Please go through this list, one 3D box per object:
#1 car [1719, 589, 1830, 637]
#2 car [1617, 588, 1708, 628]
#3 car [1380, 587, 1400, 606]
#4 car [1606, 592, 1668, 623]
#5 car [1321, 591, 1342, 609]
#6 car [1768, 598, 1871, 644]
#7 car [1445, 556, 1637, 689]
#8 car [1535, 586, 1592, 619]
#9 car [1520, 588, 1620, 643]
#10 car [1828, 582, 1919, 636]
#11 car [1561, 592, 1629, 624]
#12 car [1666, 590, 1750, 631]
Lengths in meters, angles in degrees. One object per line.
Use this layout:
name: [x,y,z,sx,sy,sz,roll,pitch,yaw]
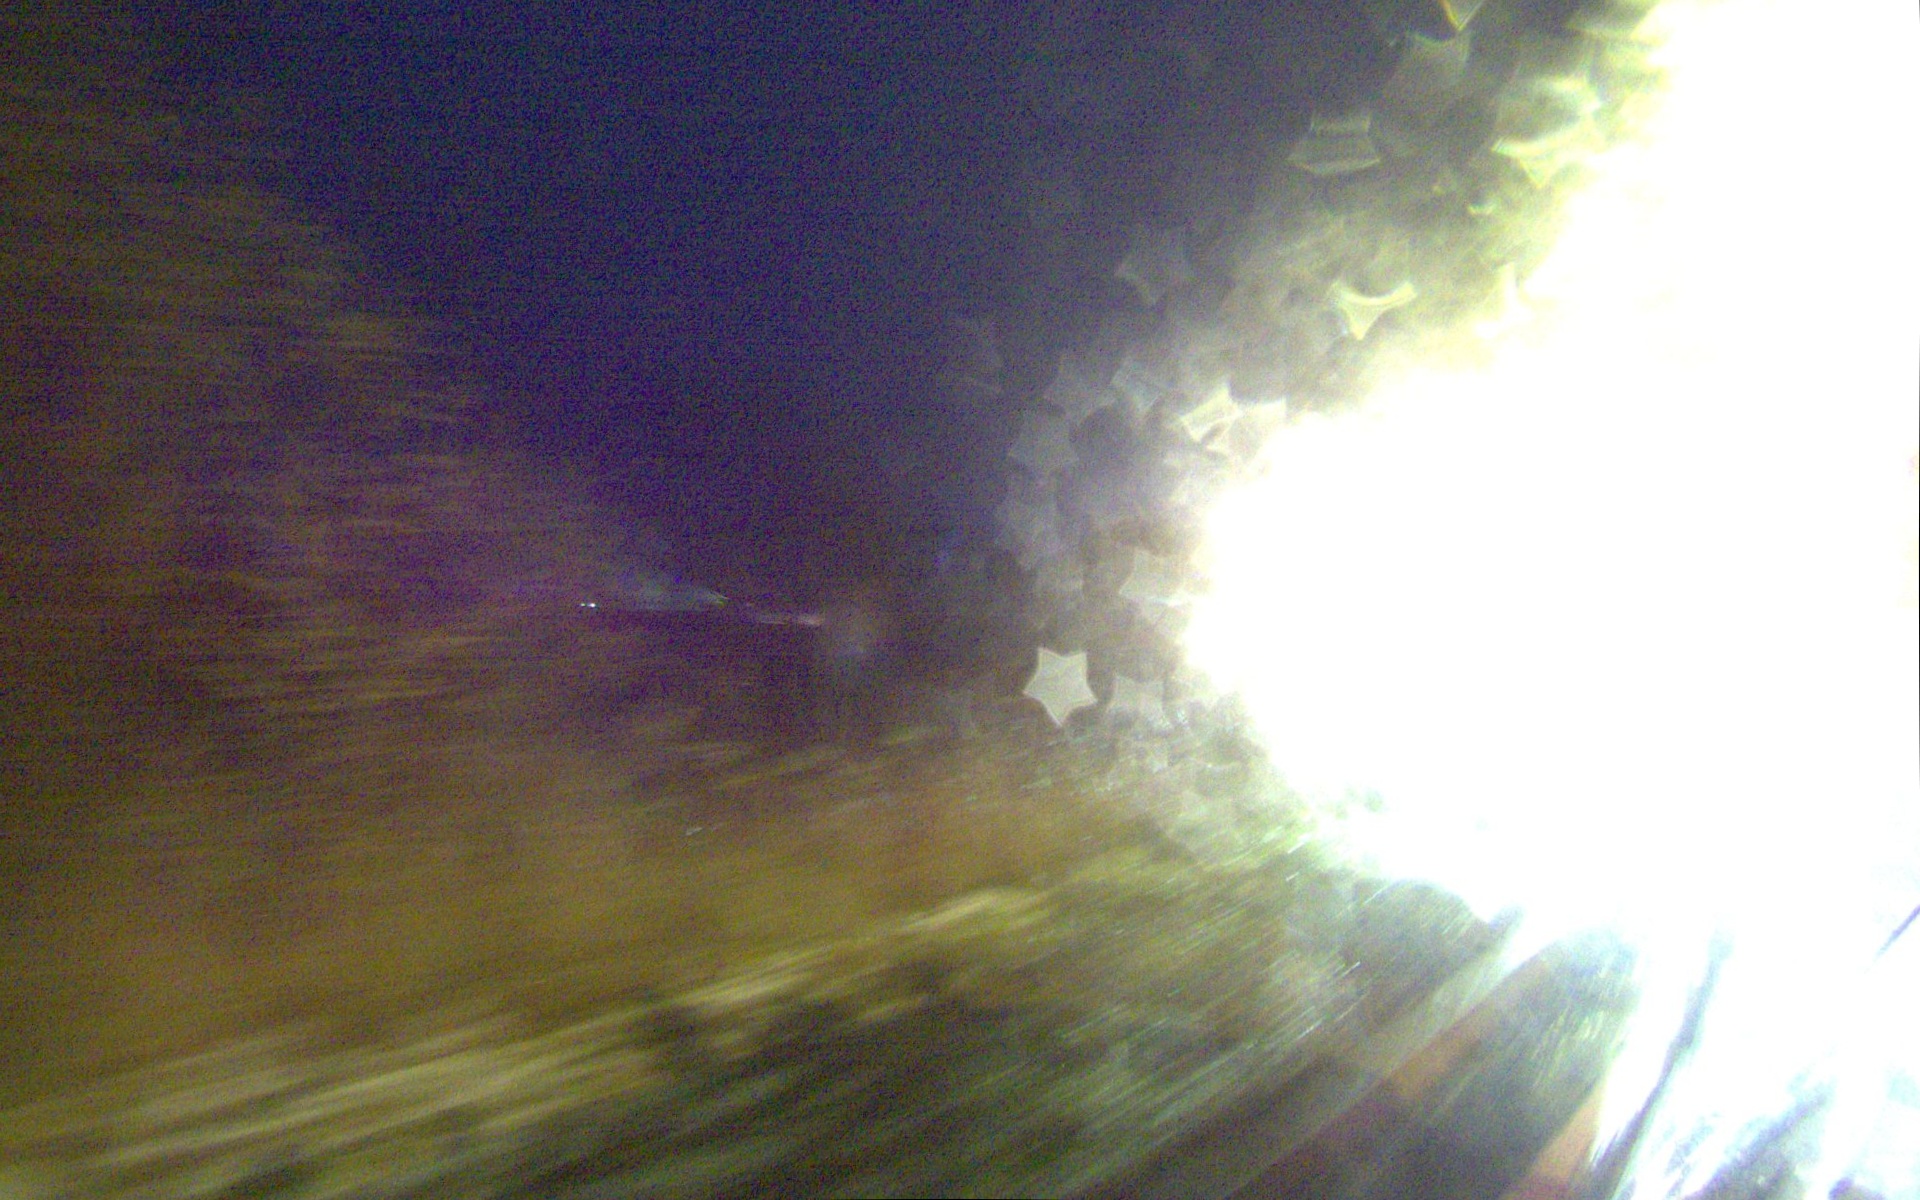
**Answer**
car: [31.907,0.447,39.830,1.779,1.686,4.466,0,2,16]
car: [29.595,0.304,42.779,1.793,1.597,4.285,1,1,15]
car: [44.511,-0.359,104.834,1.646,1.876,4.122,0,2,19]
car: [36.596,0.358,54.819,1.695,1.505,4.036,0,2,17]
car: [38.913,-0.018,106.122,1.934,1.653,4.234,0,2,19]
car: [37.512,0.958,44.289,1.779,1.823,4.226,0,-4,16]
car: [9.987,0.378,17.800,1.978,1.950,4.342,-4,-2,19]
car: [33.105,0.118,55.580,1.741,1.747,3.881,0,0,16]
car: [20.850,0.539,34.767,1.806,1.670,4.115,-4,-2,16]
car: [35.043,0.298,38.314,1.741,1.871,4.105,0,2,16]
car: [31.184,0.346,49.826,1.758,1.502,4.387,0,0,17]
car: [34.192,0.459,46.363,1.779,1.686,3.957,0,2,16]
